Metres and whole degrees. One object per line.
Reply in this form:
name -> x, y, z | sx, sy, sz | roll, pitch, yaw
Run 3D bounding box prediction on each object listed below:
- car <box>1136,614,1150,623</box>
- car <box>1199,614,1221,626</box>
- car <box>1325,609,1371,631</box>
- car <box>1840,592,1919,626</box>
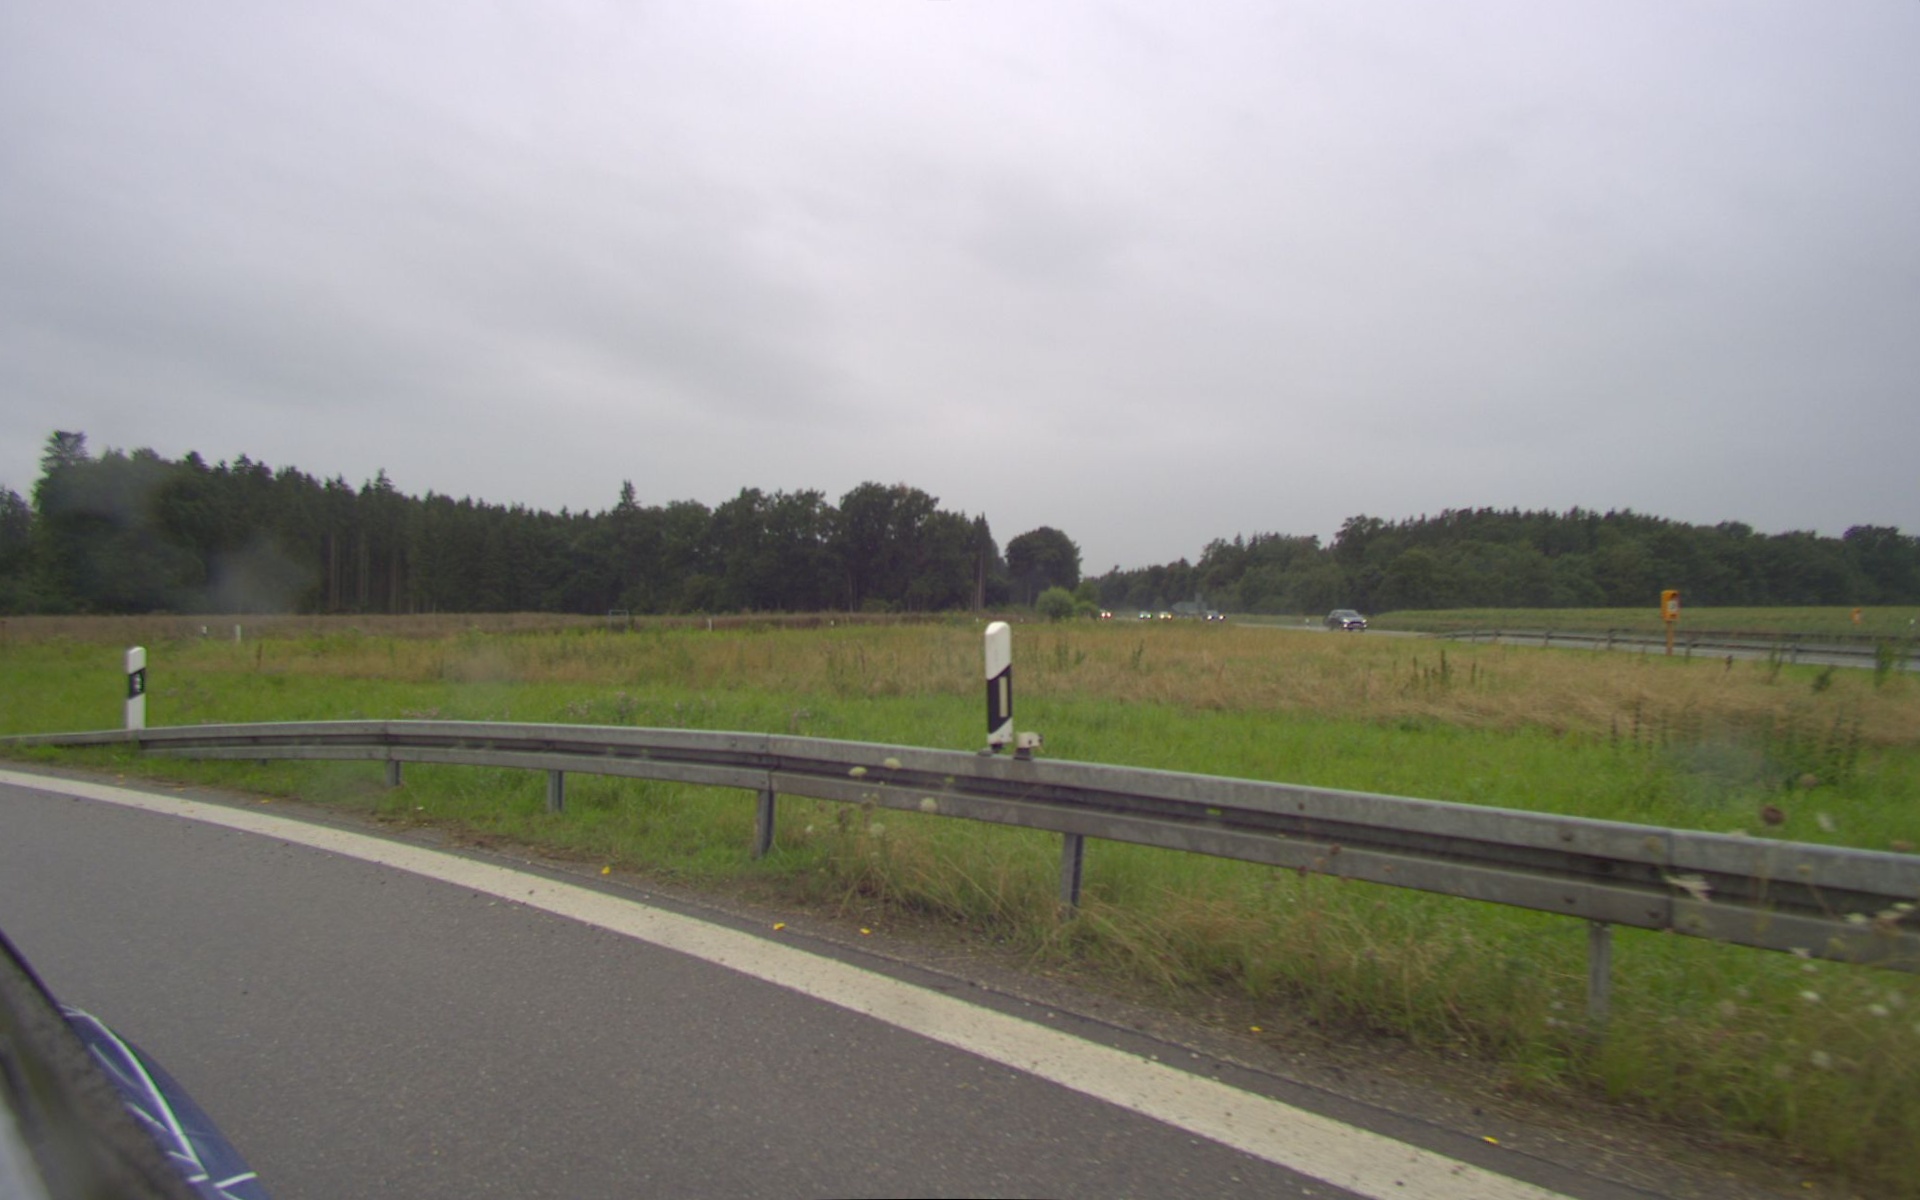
car -> 34.498, 3.461, 191.374 | 2.125, 1.648, 4.588 | 1, -1, 5
car -> 32.567, 2.629, 132.074 | 2.074, 1.465, 4.588 | 1, -1, 5
car -> 30.246, 1.551, 79.070 | 1.843, 1.646, 5.097 | 0, -1, 3
car -> 50.374, 0.511, 54.889 | 1.711, 1.750, 3.998 | -1, -1, 1
